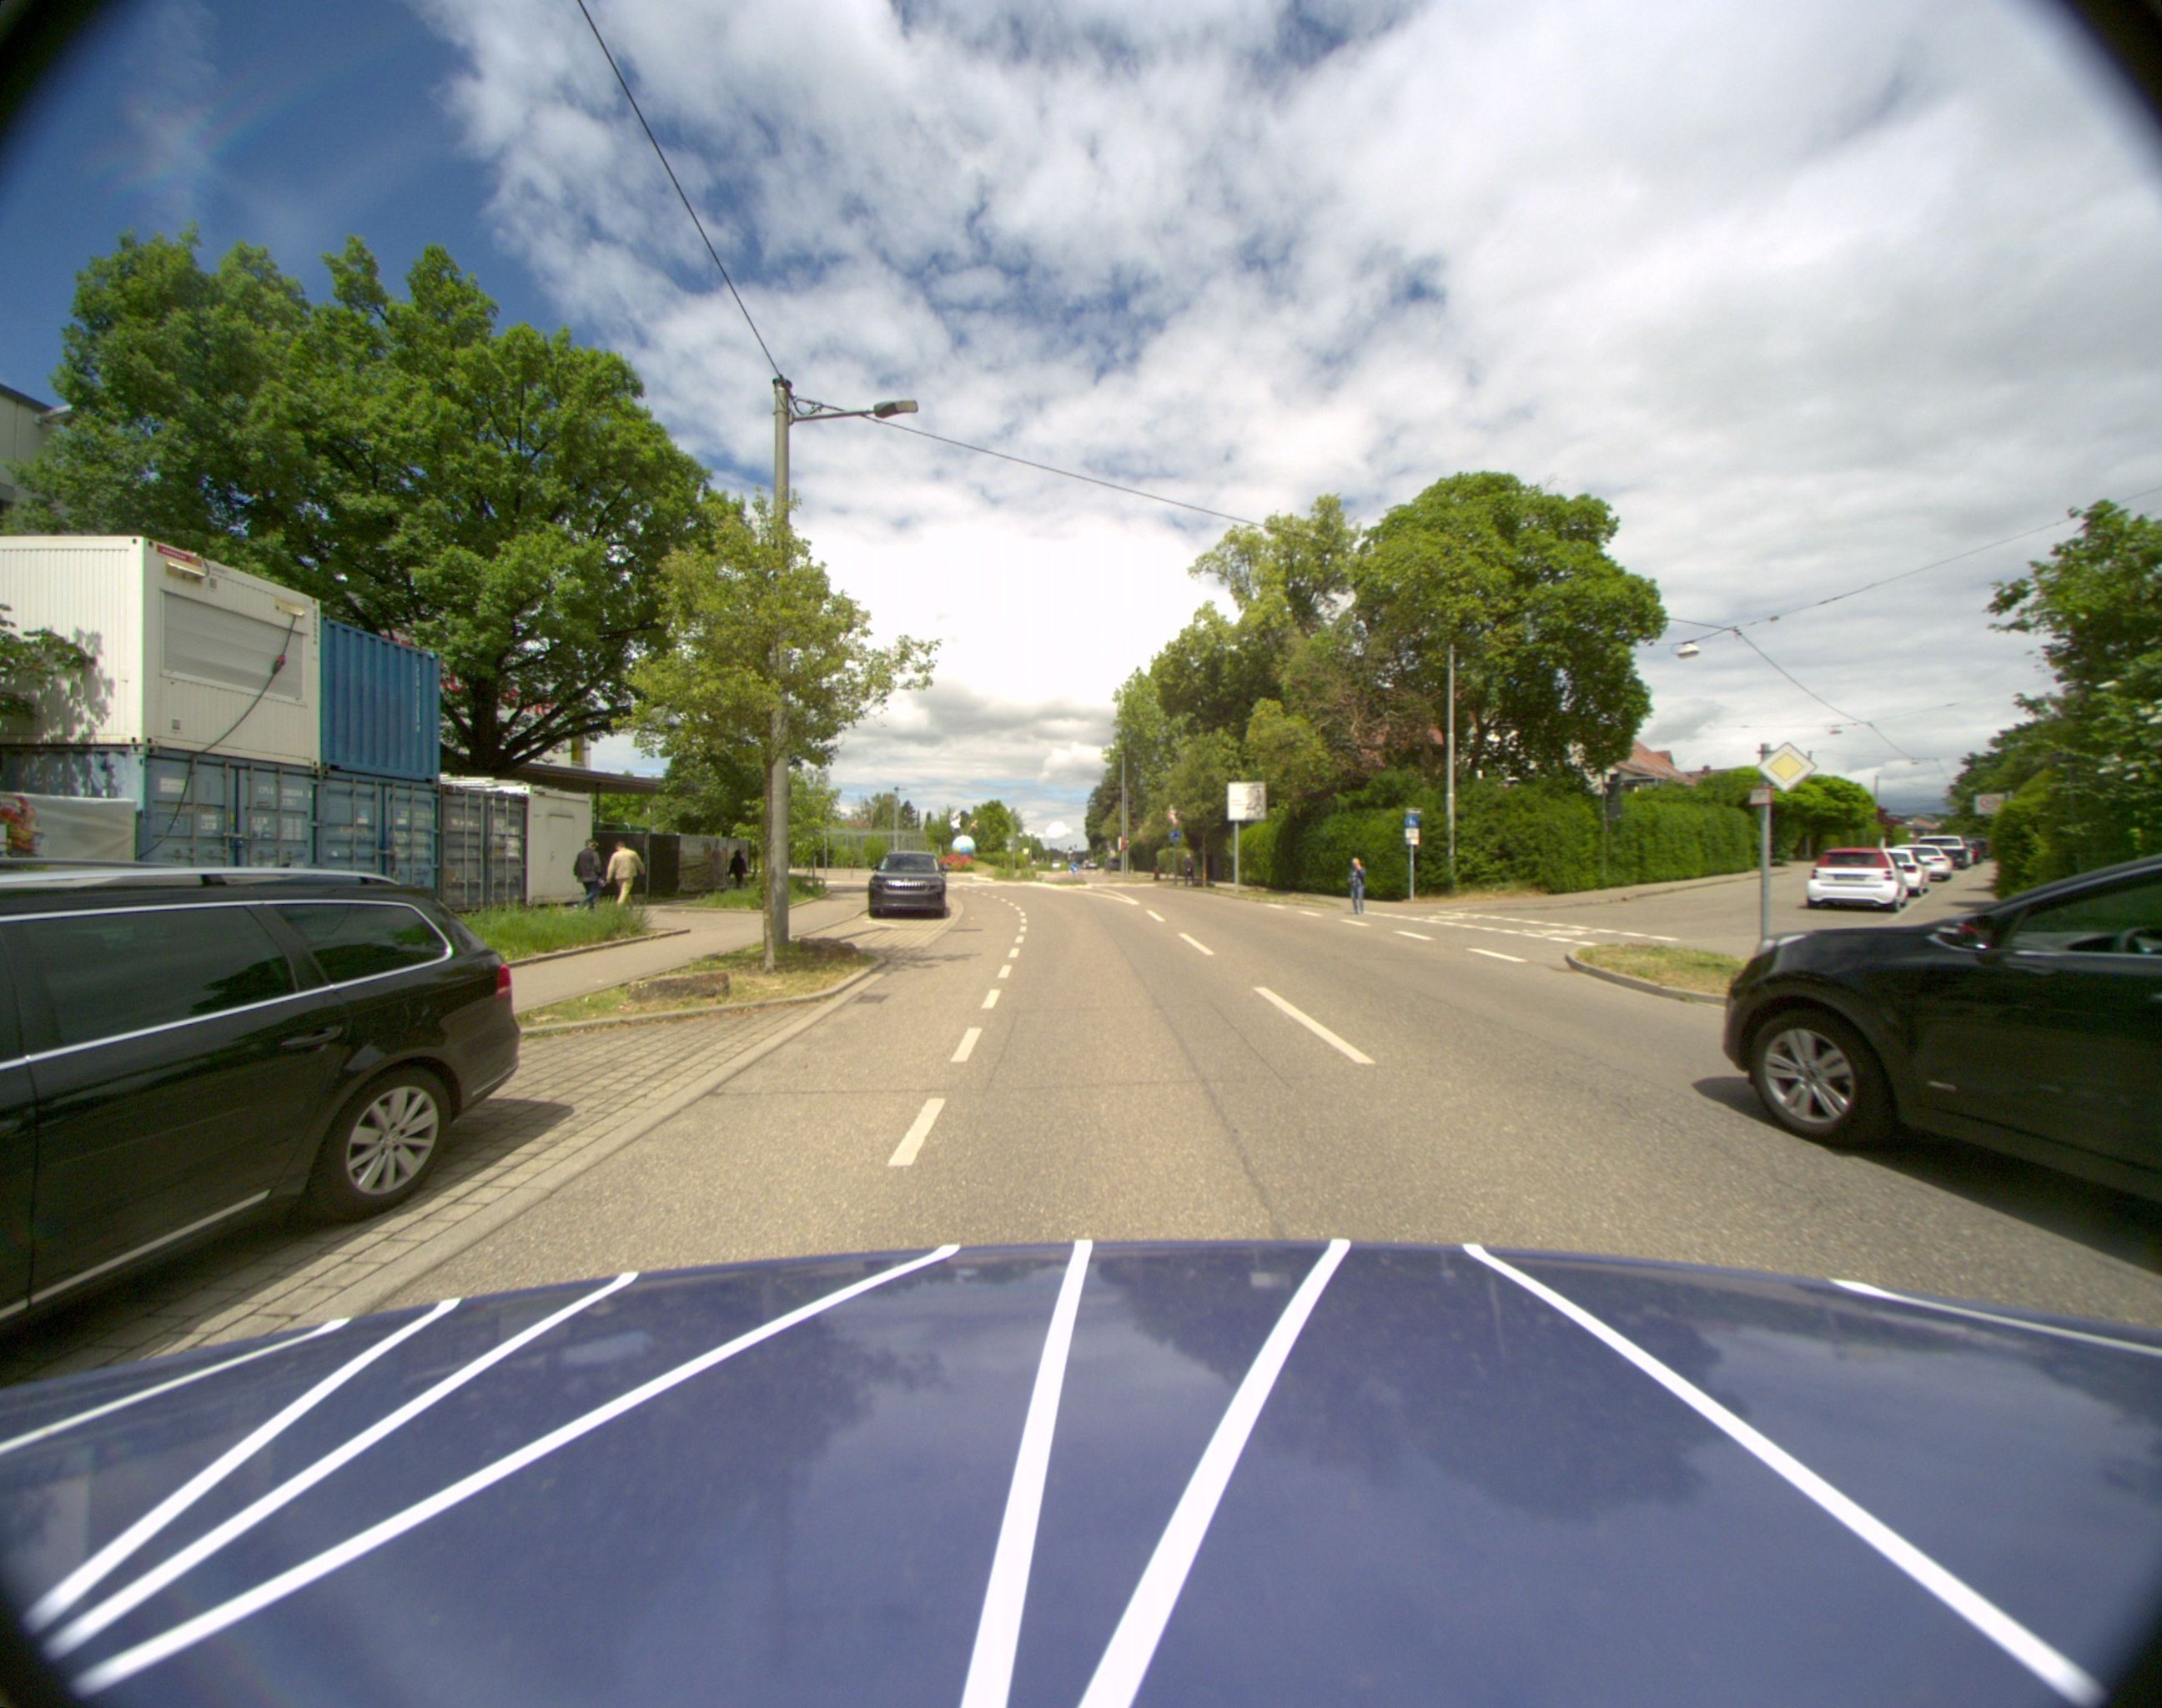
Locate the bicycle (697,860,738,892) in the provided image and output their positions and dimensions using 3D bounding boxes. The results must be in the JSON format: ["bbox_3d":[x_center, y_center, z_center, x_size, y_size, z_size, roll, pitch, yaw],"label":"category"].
[{"bbox_3d":[-13.769,0.832,28.837,0.450,1.148,1.792,0,1,10],"label":"bicycle"}]

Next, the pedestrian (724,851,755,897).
[{"bbox_3d":[-12.119,0.686,26.993,0.744,1.608,0.767,0,1,-2],"label":"pedestrian"}]

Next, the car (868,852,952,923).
[{"bbox_3d":[-4.429,0.796,20.309,1.885,1.612,4.842,1,0,-9],"label":"car"}]

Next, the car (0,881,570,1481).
[{"bbox_3d":[-3.813,0.948,1.900,1.769,1.468,4.934,3,0,-1],"label":"car"}]

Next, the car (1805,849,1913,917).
[{"bbox_3d":[19.917,0.682,19.428,2.783,1.547,1.585,-2,1,-37],"label":"car"}]

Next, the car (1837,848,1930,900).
[{"bbox_3d":[25.326,0.582,23.948,3.541,1.447,1.711,-2,1,-38],"label":"car"}]

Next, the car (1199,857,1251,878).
[{"bbox_3d":[10.931,1.024,57.910,3.576,1.389,1.665,3,1,-1],"label":"car"}]

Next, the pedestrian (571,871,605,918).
[{"bbox_3d":[-11.517,0.939,17.766,0.412,1.052,0.567,0,1,-2],"label":"pedestrian"}]

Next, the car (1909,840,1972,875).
[{"bbox_3d":[48.816,0.166,43.132,4.007,1.860,1.960,-1,1,-36],"label":"car"}]

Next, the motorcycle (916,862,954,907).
[{"bbox_3d":[-4.645,0.928,24.118,1.075,1.298,2.258,3,0,-11],"label":"motorcycle"}]

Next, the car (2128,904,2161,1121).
[{"bbox_3d":[7.682,1.016,2.707,1.664,1.370,4.566,-1,0,1],"label":"car"}]

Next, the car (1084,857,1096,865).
[{"bbox_3d":[1.890,1.439,162.016,2.000,1.696,3.998,1,0,-6],"label":"car"}]

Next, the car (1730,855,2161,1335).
[{"bbox_3d":[4.576,0.845,2.224,1.837,1.607,4.152,2,0,2],"label":"car"}]

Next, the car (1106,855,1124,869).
[{"bbox_3d":[4.110,0.957,91.849,1.681,1.652,3.998,1,0,-5],"label":"car"}]

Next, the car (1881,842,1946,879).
[{"bbox_3d":[34.607,0.237,31.551,4.288,1.397,1.701,-2,1,-41],"label":"car"}]

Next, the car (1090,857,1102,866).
[{"bbox_3d":[2.538,1.263,130.779,1.862,1.568,3.999,0,1,-1],"label":"car"}]

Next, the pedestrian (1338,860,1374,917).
[{"bbox_3d":[7.552,0.925,20.843,0.732,1.500,0.626,-1,1,-36],"label":"pedestrian"}]

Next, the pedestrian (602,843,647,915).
[{"bbox_3d":[-10.971,0.588,18.283,0.652,1.686,0.724,0,1,-2],"label":"pedestrian"}]

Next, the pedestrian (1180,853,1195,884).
[{"bbox_3d":[5.939,0.812,42.349,0.745,1.681,0.694,0,1,0],"label":"pedestrian"}]

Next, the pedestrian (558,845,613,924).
[{"bbox_3d":[-10.852,0.641,16.662,0.653,1.687,0.844,0,1,-2],"label":"pedestrian"}]
